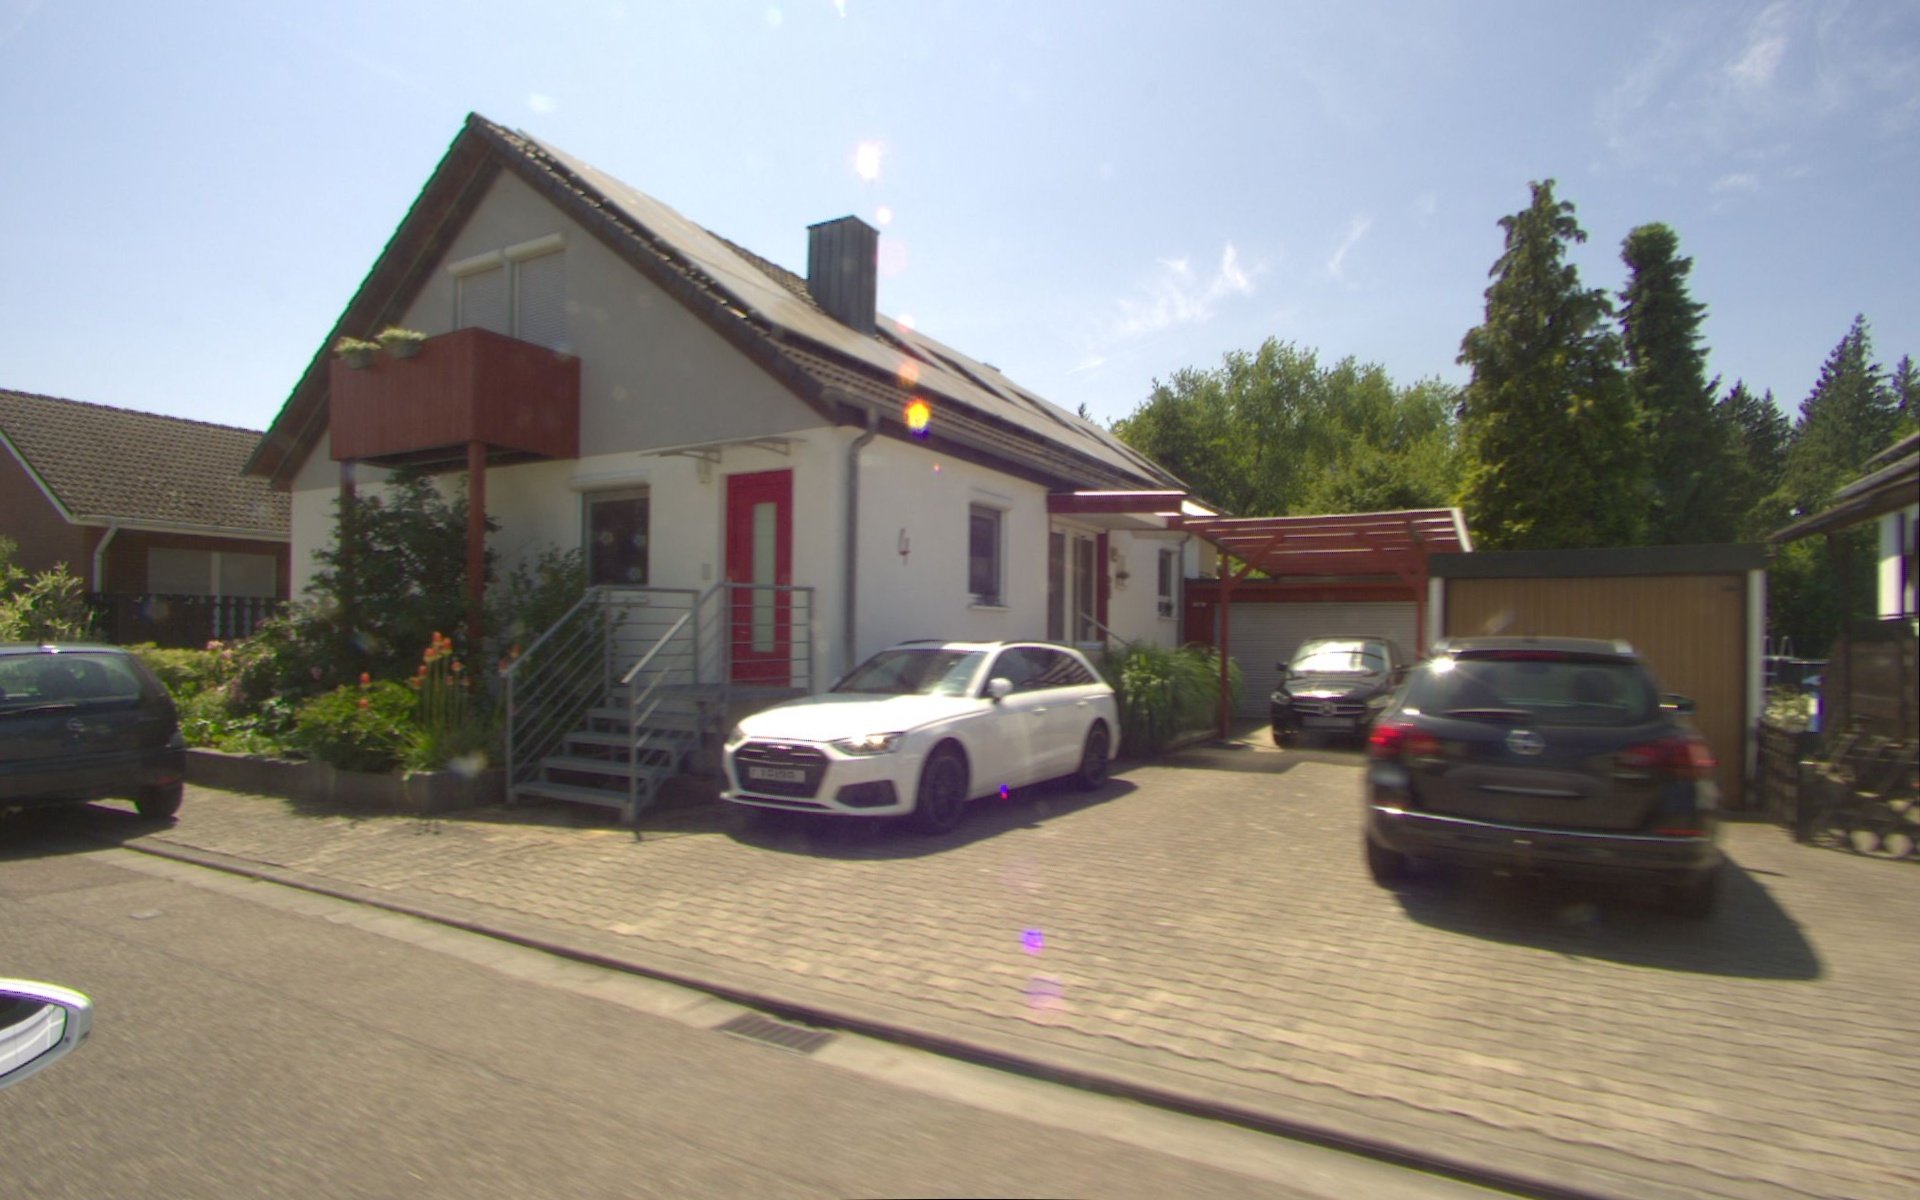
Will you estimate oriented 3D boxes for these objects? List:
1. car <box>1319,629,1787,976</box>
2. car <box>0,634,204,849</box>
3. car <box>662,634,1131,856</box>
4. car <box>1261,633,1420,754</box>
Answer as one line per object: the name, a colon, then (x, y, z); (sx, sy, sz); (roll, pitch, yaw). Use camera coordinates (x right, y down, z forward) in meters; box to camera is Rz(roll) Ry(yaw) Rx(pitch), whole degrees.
car: (3.831, 0.975, 6.762); (1.970, 1.505, 4.237); (0, -2, 29)
car: (-7.998, 1.022, 8.197); (3.598, 1.458, 1.648); (0, -2, 31)
car: (-0.233, 1.038, 8.941); (1.923, 1.414, 4.531); (0, -2, 32)
car: (6.005, 1.323, 15.519); (1.842, 1.587, 4.055); (0, -2, 28)
